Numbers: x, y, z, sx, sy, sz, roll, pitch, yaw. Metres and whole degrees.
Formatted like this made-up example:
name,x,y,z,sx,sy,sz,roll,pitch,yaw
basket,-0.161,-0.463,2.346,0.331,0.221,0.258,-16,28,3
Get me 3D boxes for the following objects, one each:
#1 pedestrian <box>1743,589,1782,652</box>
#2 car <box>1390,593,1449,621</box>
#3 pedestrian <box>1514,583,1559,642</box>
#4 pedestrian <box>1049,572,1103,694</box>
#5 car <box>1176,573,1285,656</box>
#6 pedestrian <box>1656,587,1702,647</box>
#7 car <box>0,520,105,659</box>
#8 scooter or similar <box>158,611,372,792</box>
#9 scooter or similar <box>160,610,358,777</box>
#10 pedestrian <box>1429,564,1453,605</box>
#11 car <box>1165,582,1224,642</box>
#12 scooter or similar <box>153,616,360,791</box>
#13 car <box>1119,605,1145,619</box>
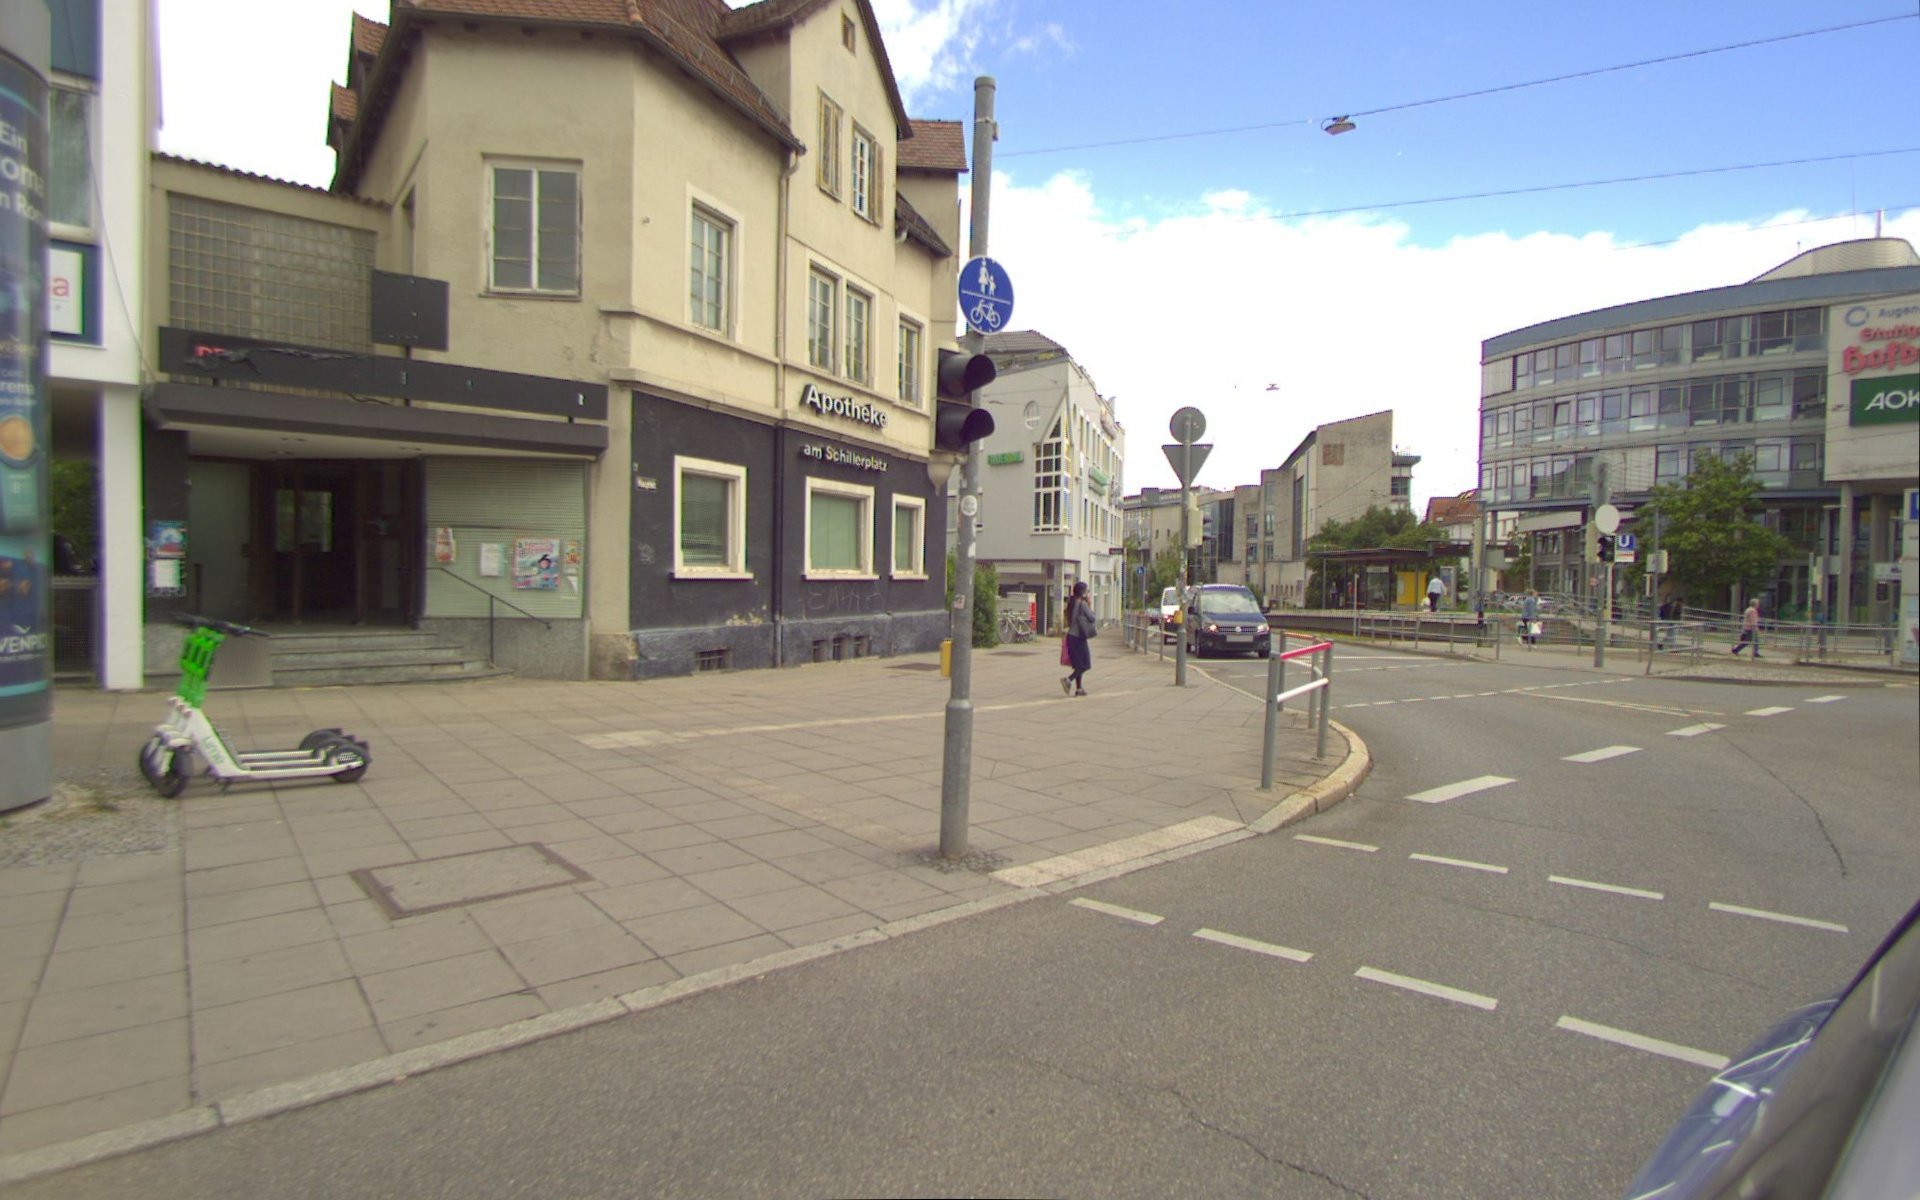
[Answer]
name,x,y,z,sx,sy,sz,roll,pitch,yaw
pedestrian,21.533,0.551,27.170,0.577,1.656,0.525,-1,-2,6
car,30.260,0.438,66.793,1.963,1.732,4.317,0,1,1
pedestrian,16.634,0.349,29.233,0.792,1.668,0.887,1,1,6
pedestrian,1.630,0.459,14.179,0.580,1.643,0.739,-1,-2,19
car,6.838,0.297,26.084,1.847,1.919,4.922,0,1,5
pedestrian,20.280,0.474,28.559,0.834,1.656,0.641,-1,-2,18
car,-12.966,-0.162,13.753,1.702,1.687,3.979,0,1,-35
scooter or similar,-4.766,0.659,6.983,1.186,1.147,0.315,0,1,-38
scooter or similar,-5.217,0.660,7.571,1.186,1.147,0.315,0,1,-38
pedestrian,21.108,-0.672,44.450,0.682,1.766,0.615,-1,-2,-3
car,8.061,0.354,35.129,1.851,1.919,4.911,0,1,12
scooter or similar,-5.006,0.697,7.237,1.186,1.147,0.315,0,1,-38
car,21.748,1.510,128.037,1.959,1.732,4.325,0,1,-8
